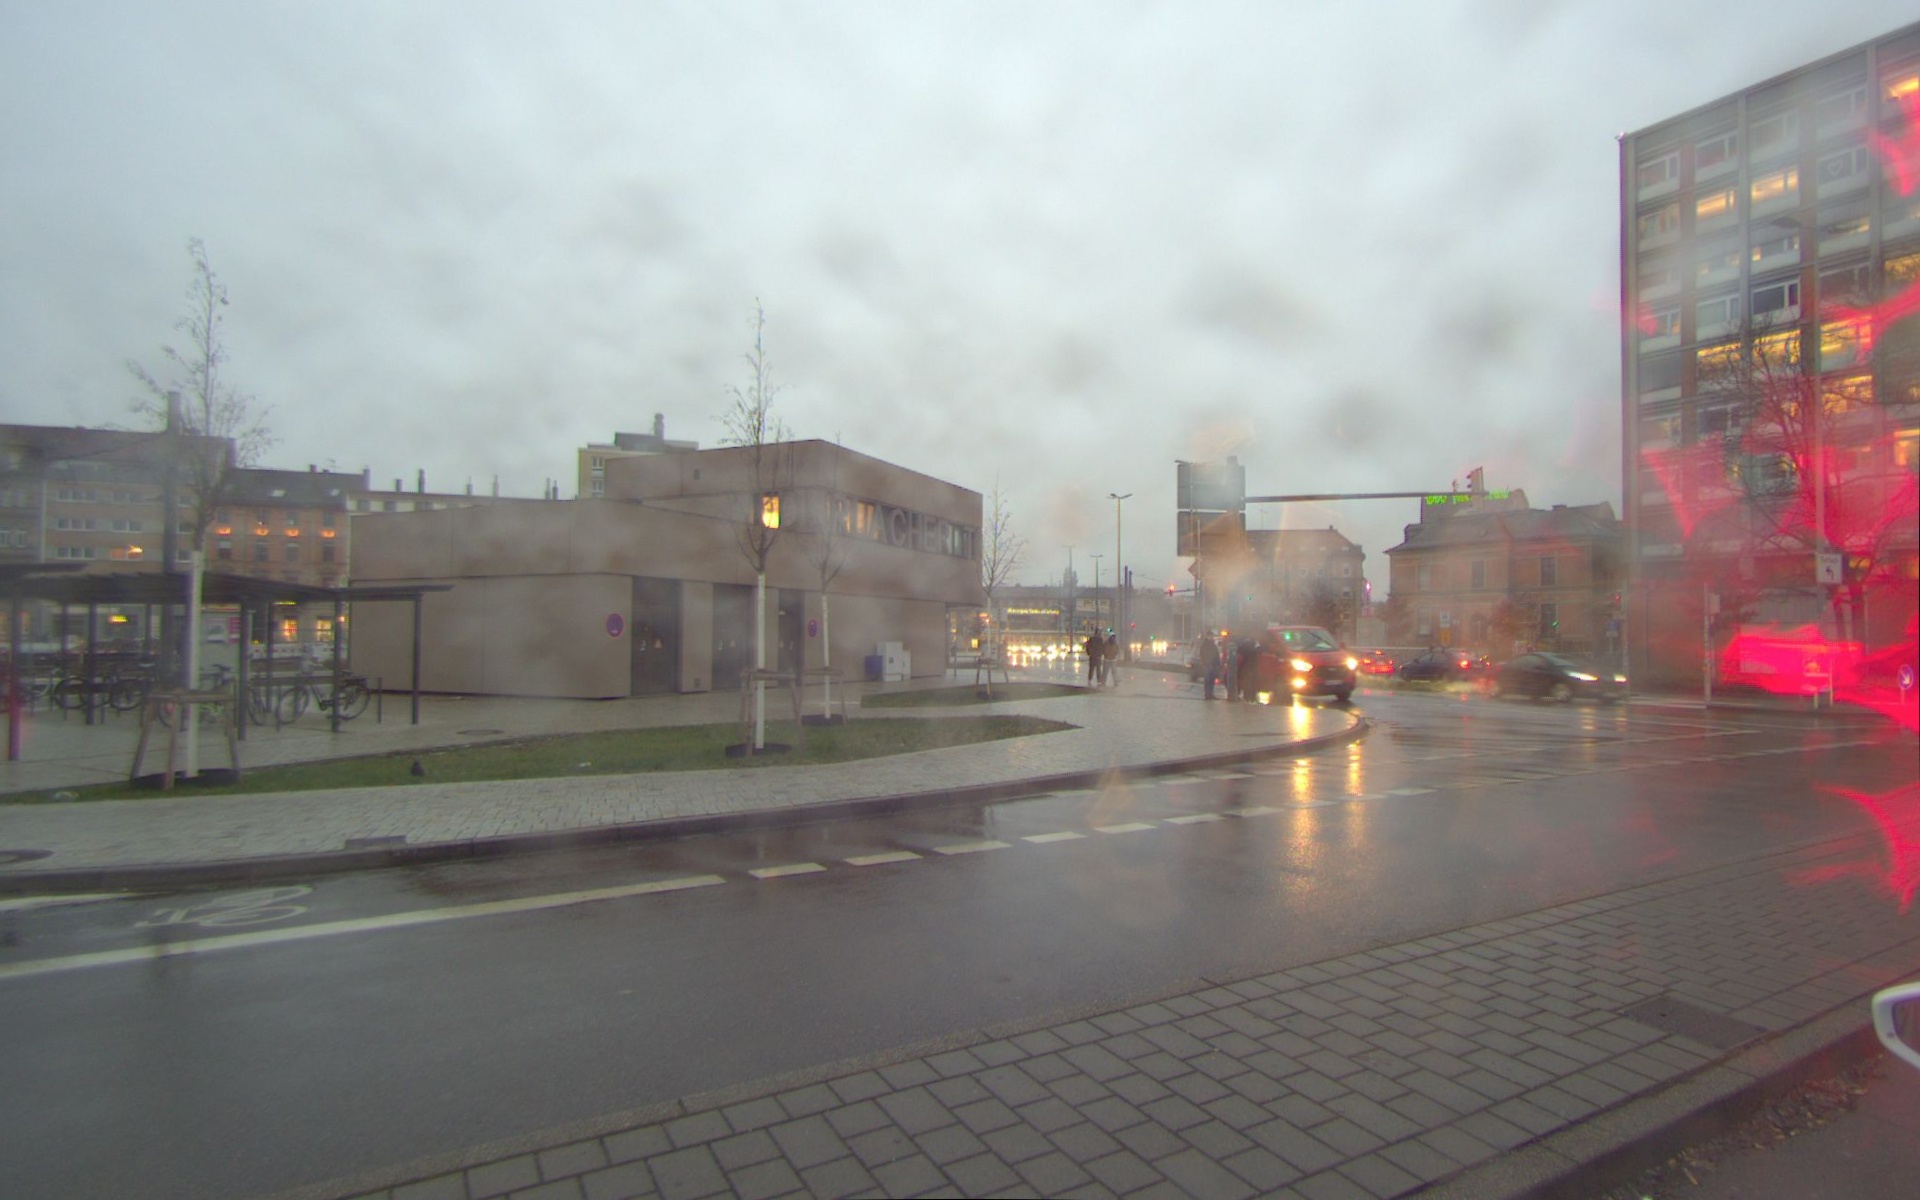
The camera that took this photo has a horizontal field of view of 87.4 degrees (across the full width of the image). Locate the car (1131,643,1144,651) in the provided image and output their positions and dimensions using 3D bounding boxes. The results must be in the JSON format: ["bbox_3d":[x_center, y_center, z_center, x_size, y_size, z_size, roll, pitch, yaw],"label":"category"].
[{"bbox_3d":[34.471,9.152,194.868,1.705,1.529,4.000,-1,-2,20],"label":"car"}]

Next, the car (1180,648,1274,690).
[{"bbox_3d":[10.651,2.738,40.402,1.811,1.603,4.124,1,-3,-16],"label":"car"}]

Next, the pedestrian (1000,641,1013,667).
[{"bbox_3d":[3.676,4.269,79.343,0.741,2.040,0.753,1,-2,-31],"label":"pedestrian"}]

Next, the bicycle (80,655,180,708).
[{"bbox_3d":[-17.682,1.709,21.431,0.511,1.050,1.573,1,-2,19],"label":"bicycle"}]

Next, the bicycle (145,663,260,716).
[{"bbox_3d":[-15.176,1.777,20.172,0.466,0.968,1.767,1,-2,29],"label":"bicycle"}]

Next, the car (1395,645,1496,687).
[{"bbox_3d":[21.520,2.906,44.677,1.798,1.589,3.984,2,0,-18],"label":"car"}]

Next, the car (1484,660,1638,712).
[{"bbox_3d":[16.921,2.392,28.507,1.671,1.319,3.760,1,-3,-12],"label":"car"}]

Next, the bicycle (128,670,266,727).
[{"bbox_3d":[-13.582,1.736,17.950,0.466,0.903,1.923,1,-2,29],"label":"bicycle"}]

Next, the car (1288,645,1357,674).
[{"bbox_3d":[20.908,3.409,58.000,3.364,1.481,1.515,2,0,-1],"label":"car"}]

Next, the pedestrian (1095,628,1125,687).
[{"bbox_3d":[4.807,1.832,32.180,0.723,1.863,0.674,0,-2,-16],"label":"pedestrian"}]

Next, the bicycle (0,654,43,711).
[{"bbox_3d":[-19.390,1.631,19.837,0.466,1.122,1.797,1,-2,29],"label":"bicycle"}]

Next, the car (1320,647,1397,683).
[{"bbox_3d":[20.502,3.311,51.813,1.795,1.589,3.991,2,0,-11],"label":"car"}]

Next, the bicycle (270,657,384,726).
[{"bbox_3d":[-11.746,1.674,18.717,0.605,1.172,1.755,1,-2,20],"label":"bicycle"}]

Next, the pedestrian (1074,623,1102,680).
[{"bbox_3d":[4.083,1.638,32.035,0.731,1.793,0.546,0,-2,-16],"label":"pedestrian"}]

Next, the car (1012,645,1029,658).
[{"bbox_3d":[7.384,6.295,122.887,1.711,1.467,3.714,-1,-2,-1],"label":"car"}]

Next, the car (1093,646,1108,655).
[{"bbox_3d":[24.282,8.739,173.676,1.705,1.529,4.001,-1,-2,20],"label":"car"}]

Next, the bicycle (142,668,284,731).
[{"bbox_3d":[-12.932,1.702,17.457,0.466,0.989,1.923,1,-2,29],"label":"bicycle"}]

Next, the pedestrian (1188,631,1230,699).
[{"bbox_3d":[6.593,1.705,26.625,0.838,1.778,0.659,0,-2,-14],"label":"pedestrian"}]

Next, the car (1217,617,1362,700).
[{"bbox_3d":[8.967,1.589,27.808,1.895,2.097,4.639,0,-3,-9],"label":"car"}]

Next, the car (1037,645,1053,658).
[{"bbox_3d":[10.511,6.332,124.083,1.775,1.496,4.595,1,-3,2],"label":"car"}]

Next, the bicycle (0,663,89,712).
[{"bbox_3d":[-18.504,1.732,19.988,0.466,0.903,1.693,1,-2,24],"label":"bicycle"}]

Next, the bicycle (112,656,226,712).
[{"bbox_3d":[-16.526,1.735,21.037,0.466,1.087,1.830,1,-2,26],"label":"bicycle"}]

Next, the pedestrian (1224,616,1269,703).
[{"bbox_3d":[6.932,1.439,24.300,0.971,2.047,0.802,-1,-2,19],"label":"pedestrian"}]
